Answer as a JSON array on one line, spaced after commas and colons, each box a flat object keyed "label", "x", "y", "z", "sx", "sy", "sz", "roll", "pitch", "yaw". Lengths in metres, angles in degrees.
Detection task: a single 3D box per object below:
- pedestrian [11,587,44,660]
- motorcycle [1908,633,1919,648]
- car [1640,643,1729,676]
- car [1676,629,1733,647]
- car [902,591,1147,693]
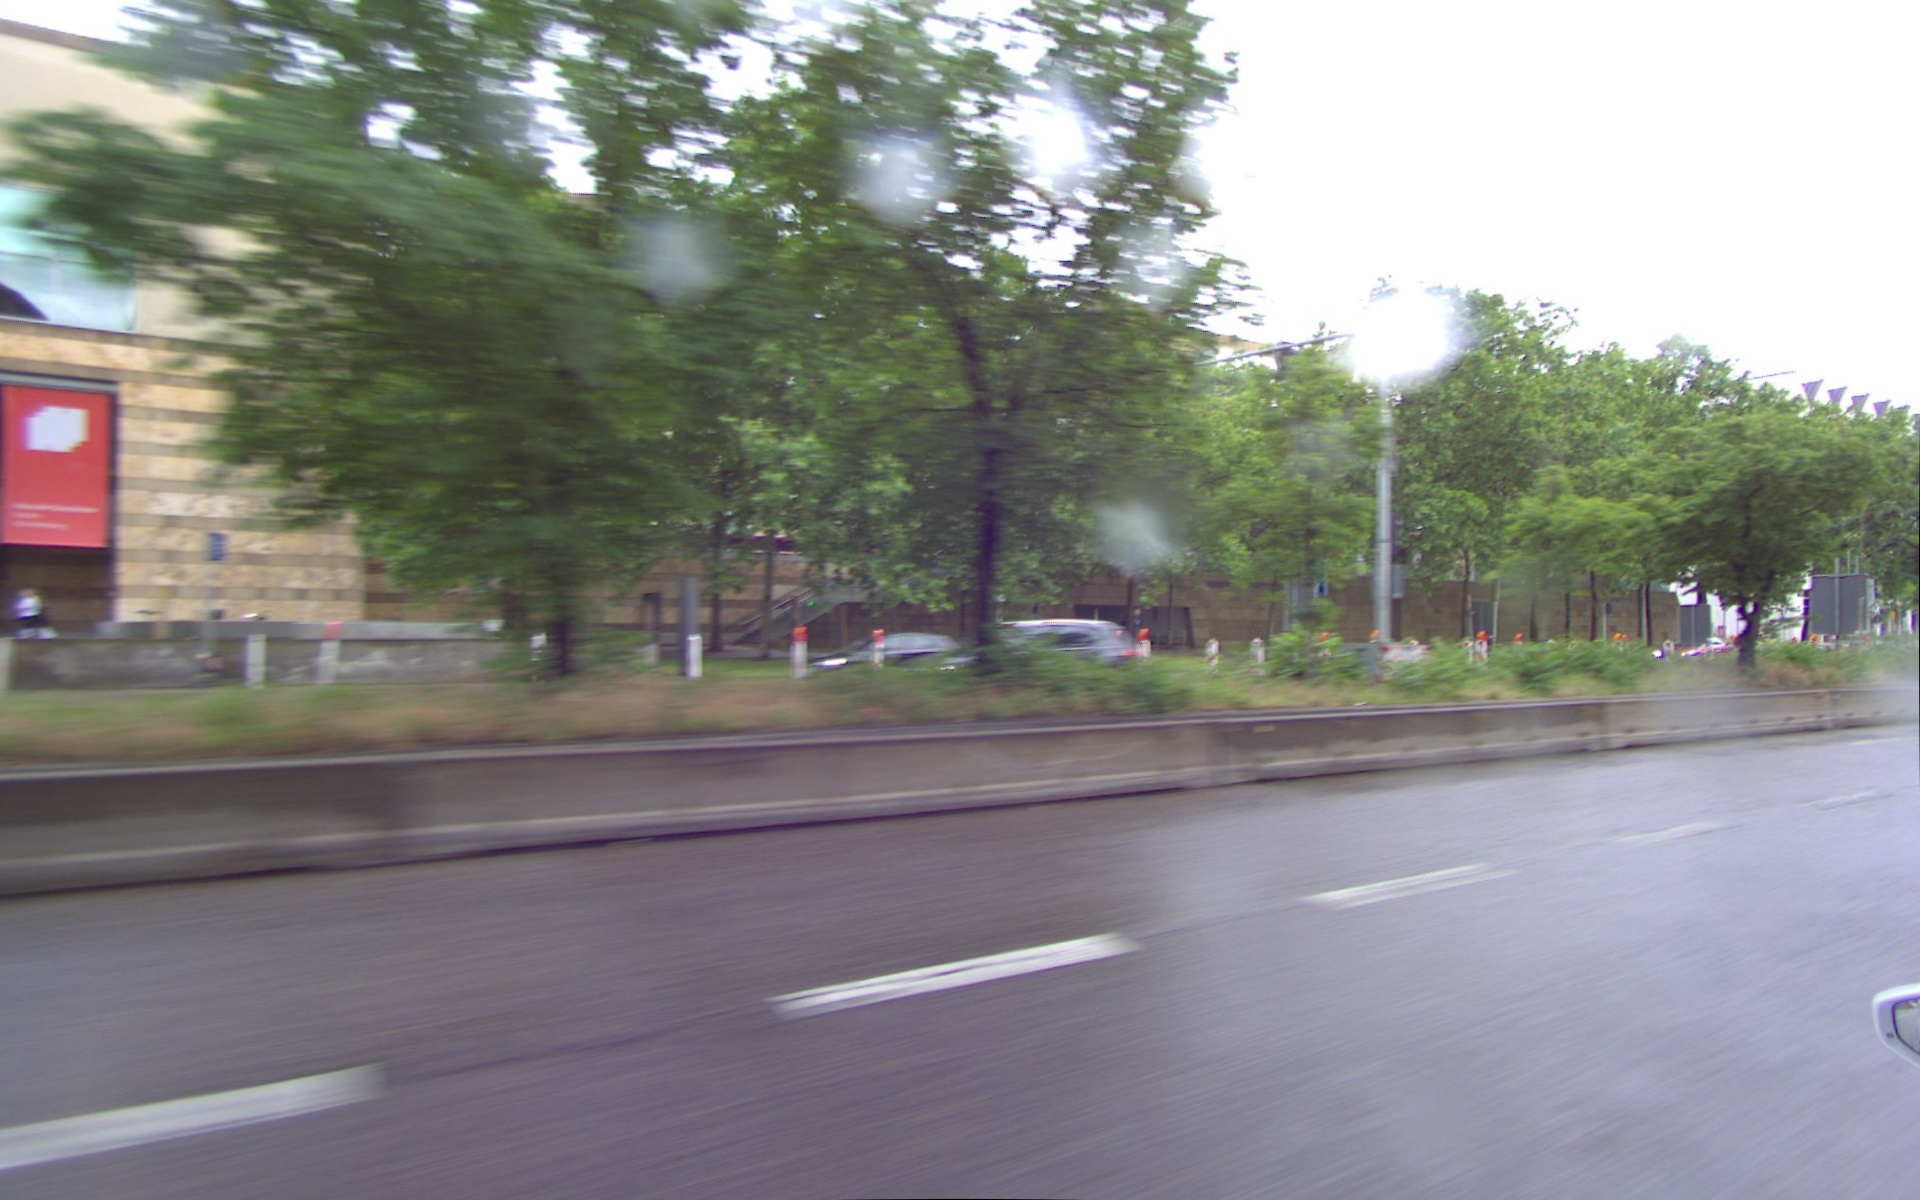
[{"label": "pedestrian", "x": -26.451, "y": 0.681, "z": 28.498, "sx": 0.506, "sy": 2.040, "sz": 0.475, "roll": 2, "pitch": -3, "yaw": -30}, {"label": "motorcycle", "x": 79.794, "y": 3.368, "z": 83.211, "sx": 1.809, "sy": 1.169, "sz": 0.426, "roll": -1, "pitch": -2, "yaw": 35}, {"label": "car", "x": 34.885, "y": 2.871, "z": 48.357, "sx": 3.951, "sy": 1.550, "sz": 1.985, "roll": 2, "pitch": -3, "yaw": -29}, {"label": "car", "x": 71.392, "y": 3.626, "z": 96.325, "sx": 1.977, "sy": 1.617, "sz": 3.967, "roll": 1, "pitch": -1, "yaw": -31}, {"label": "car", "x": 1.169, "y": 0.713, "z": 17.800, "sx": 3.957, "sy": 1.617, "sz": 1.982, "roll": 1, "pitch": -1, "yaw": -33}]
